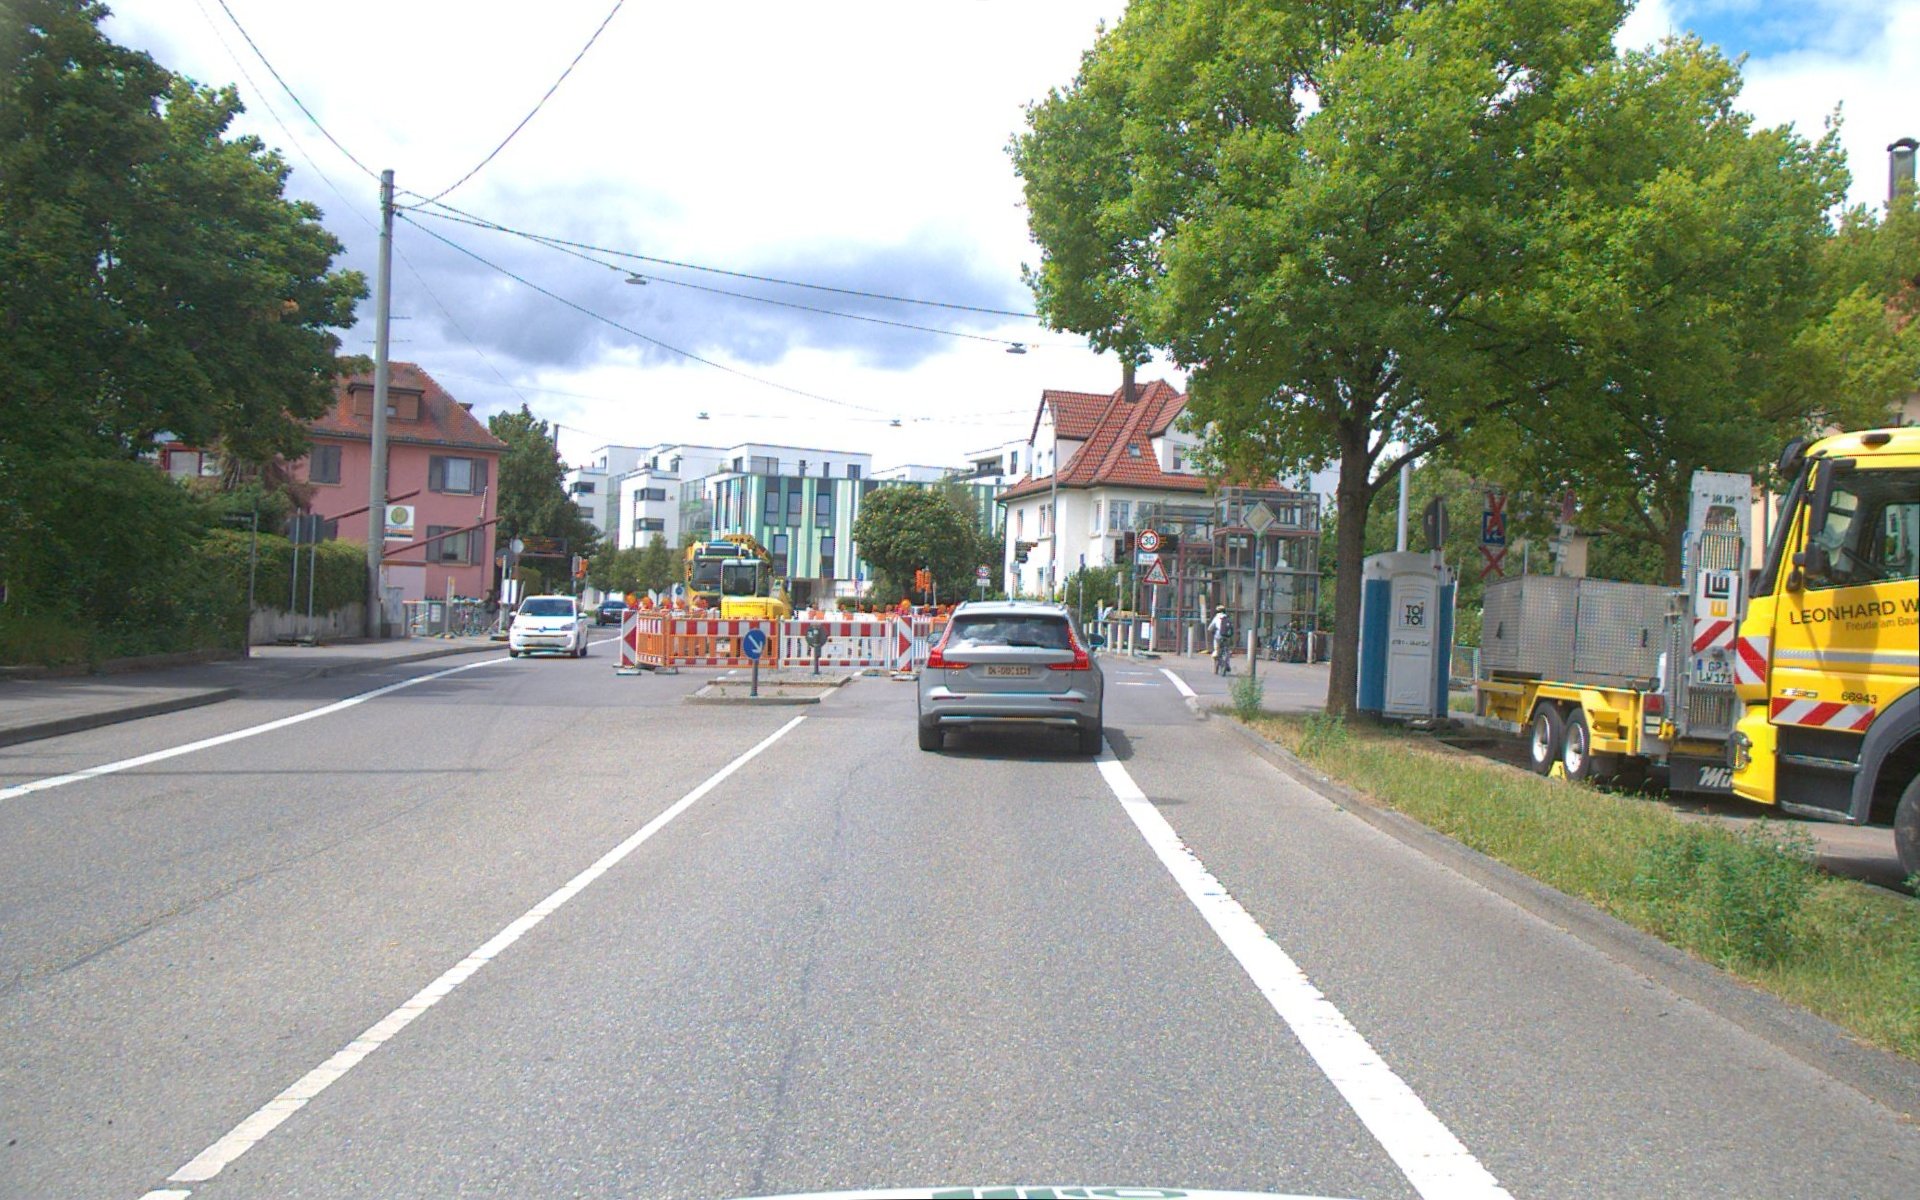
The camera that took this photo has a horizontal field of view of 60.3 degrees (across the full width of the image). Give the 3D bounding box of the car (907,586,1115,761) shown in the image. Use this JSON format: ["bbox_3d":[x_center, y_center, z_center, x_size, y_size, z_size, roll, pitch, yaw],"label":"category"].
[{"bbox_3d":[0.594,0.683,17.323,1.887,1.567,4.002,2,0,3],"label":"car"}]

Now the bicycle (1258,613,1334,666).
[{"bbox_3d":[9.574,1.090,47.343,1.363,1.210,3.471,5,2,-1],"label":"bicycle"}]

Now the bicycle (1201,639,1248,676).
[{"bbox_3d":[6.344,1.374,39.738,0.583,0.826,1.751,5,-2,-8],"label":"bicycle"}]

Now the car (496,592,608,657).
[{"bbox_3d":[-10.010,0.626,40.858,1.849,1.534,3.998,0,-2,-2],"label":"car"}]

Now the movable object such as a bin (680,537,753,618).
[{"bbox_3d":[-9.911,-0.866,66.926,2.271,3.042,6.404,2,0,-14],"label":"movable object such as a bin"}]

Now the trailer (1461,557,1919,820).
[{"bbox_3d":[7.059,0.777,16.540,2.340,2.067,5.512,3,-1,0],"label":"trailer"}]

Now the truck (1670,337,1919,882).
[{"bbox_3d":[7.801,0.231,9.070,6.581,3.060,2.756,3,-2,39],"label":"truck"}]

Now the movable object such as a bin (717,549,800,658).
[{"bbox_3d":[-5.398,0.091,44.805,1.995,2.689,5.932,2,0,-6],"label":"movable object such as a bin"}]

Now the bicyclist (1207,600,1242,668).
[{"bbox_3d":[6.370,0.811,39.867,0.578,1.586,0.565,5,-2,-9],"label":"bicyclist"}]
